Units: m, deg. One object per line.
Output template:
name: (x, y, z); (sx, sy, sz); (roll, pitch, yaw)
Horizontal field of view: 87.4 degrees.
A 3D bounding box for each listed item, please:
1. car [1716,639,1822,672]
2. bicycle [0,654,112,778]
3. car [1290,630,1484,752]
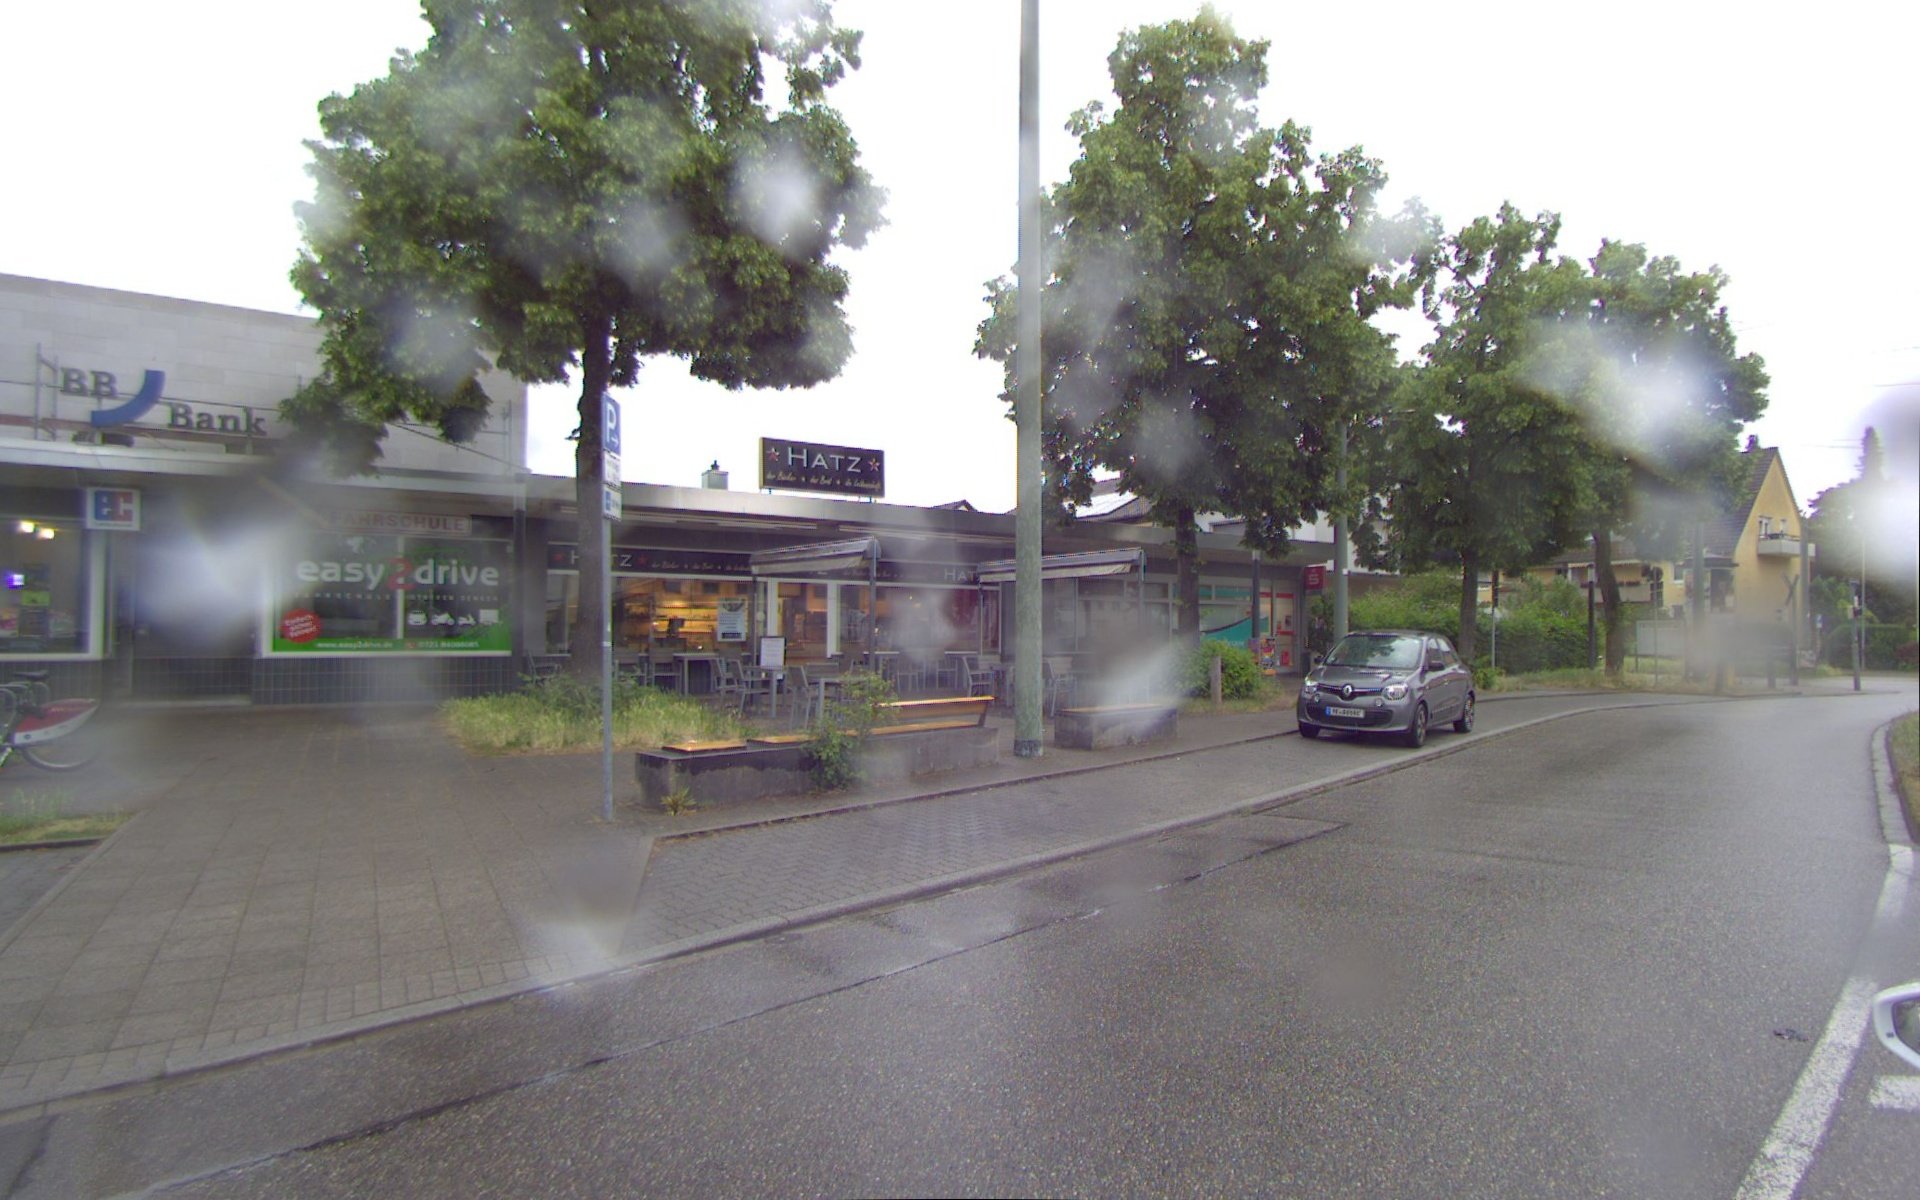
car: (41.976, 2.847, 52.182); (1.815, 1.476, 3.960); (2, 0, -35)
bicycle: (-8.998, 1.076, 9.279); (0.314, 1.122, 1.739); (2, 0, 43)
car: (6.385, 1.230, 14.835); (1.598, 1.516, 3.649); (2, 0, 40)
